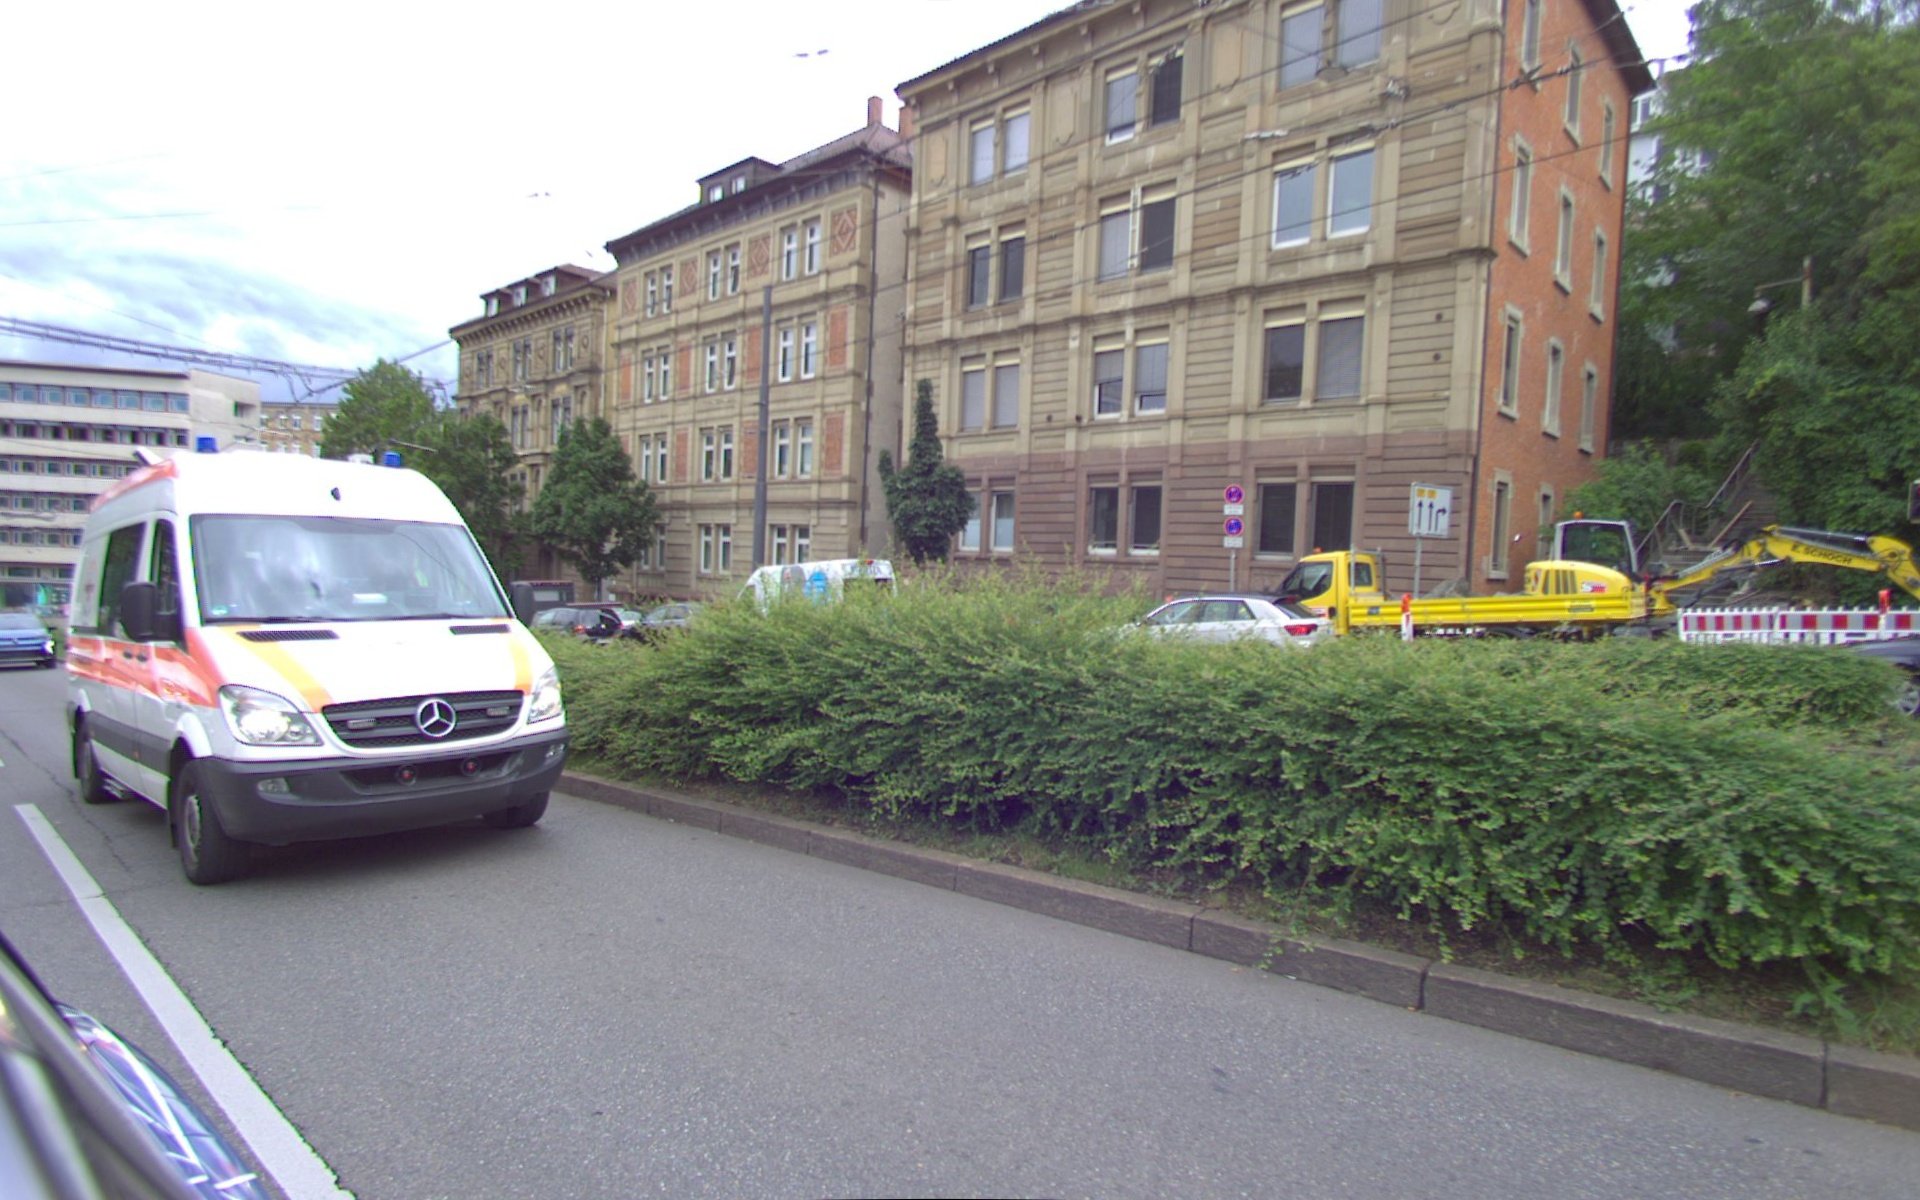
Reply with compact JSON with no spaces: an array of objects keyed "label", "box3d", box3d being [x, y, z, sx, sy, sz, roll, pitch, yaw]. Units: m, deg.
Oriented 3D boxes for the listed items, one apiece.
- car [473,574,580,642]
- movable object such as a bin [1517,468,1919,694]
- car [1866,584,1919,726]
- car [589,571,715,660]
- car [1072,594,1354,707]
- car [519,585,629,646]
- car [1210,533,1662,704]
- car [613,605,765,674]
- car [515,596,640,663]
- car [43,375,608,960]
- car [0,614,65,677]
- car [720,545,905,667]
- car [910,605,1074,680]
[{"label":"car","box3d":[-15.772,0.311,36.749,4.002,2.305,2.211,-1,-1,45]},{"label":"movable object such as a bin","box3d":[13.979,-0.251,18.459,6.527,3.575,2.725,-1,-1,32]},{"label":"car","box3d":[11.818,0.557,10.118,3.996,1.473,1.761,-1,-1,40]},{"label":"car","box3d":[-9.290,0.467,30.363,4.002,2.494,1.971,-1,-1,45]},{"label":"car","box3d":[3.925,0.737,15.983,3.992,1.579,1.688,-1,-1,36]},{"label":"car","box3d":[-13.087,0.531,34.238,3.438,1.954,2.289,-1,-1,45]},{"label":"car","box3d":[8.013,0.288,17.606,6.746,2.454,2.416,-1,0,39]},{"label":"car","box3d":[-6.682,0.925,24.804,3.951,1.531,1.846,-1,-1,44]},{"label":"car","box3d":[-10.861,0.815,28.607,4.002,1.763,1.815,-1,-1,45]},{"label":"car","box3d":[-5.004,0.352,7.434,5.853,2.720,2.012,-1,-1,42]},{"label":"car","box3d":[-26.507,1.243,28.293,4.182,1.584,1.904,-1,1,45]},{"label":"car","box3d":[-3.866,0.190,26.071,4.783,2.844,2.185,-1,-1,42]},{"label":"car","box3d":[0.616,0.868,21.848,1.623,1.465,3.572,0,-1,-38]}]
